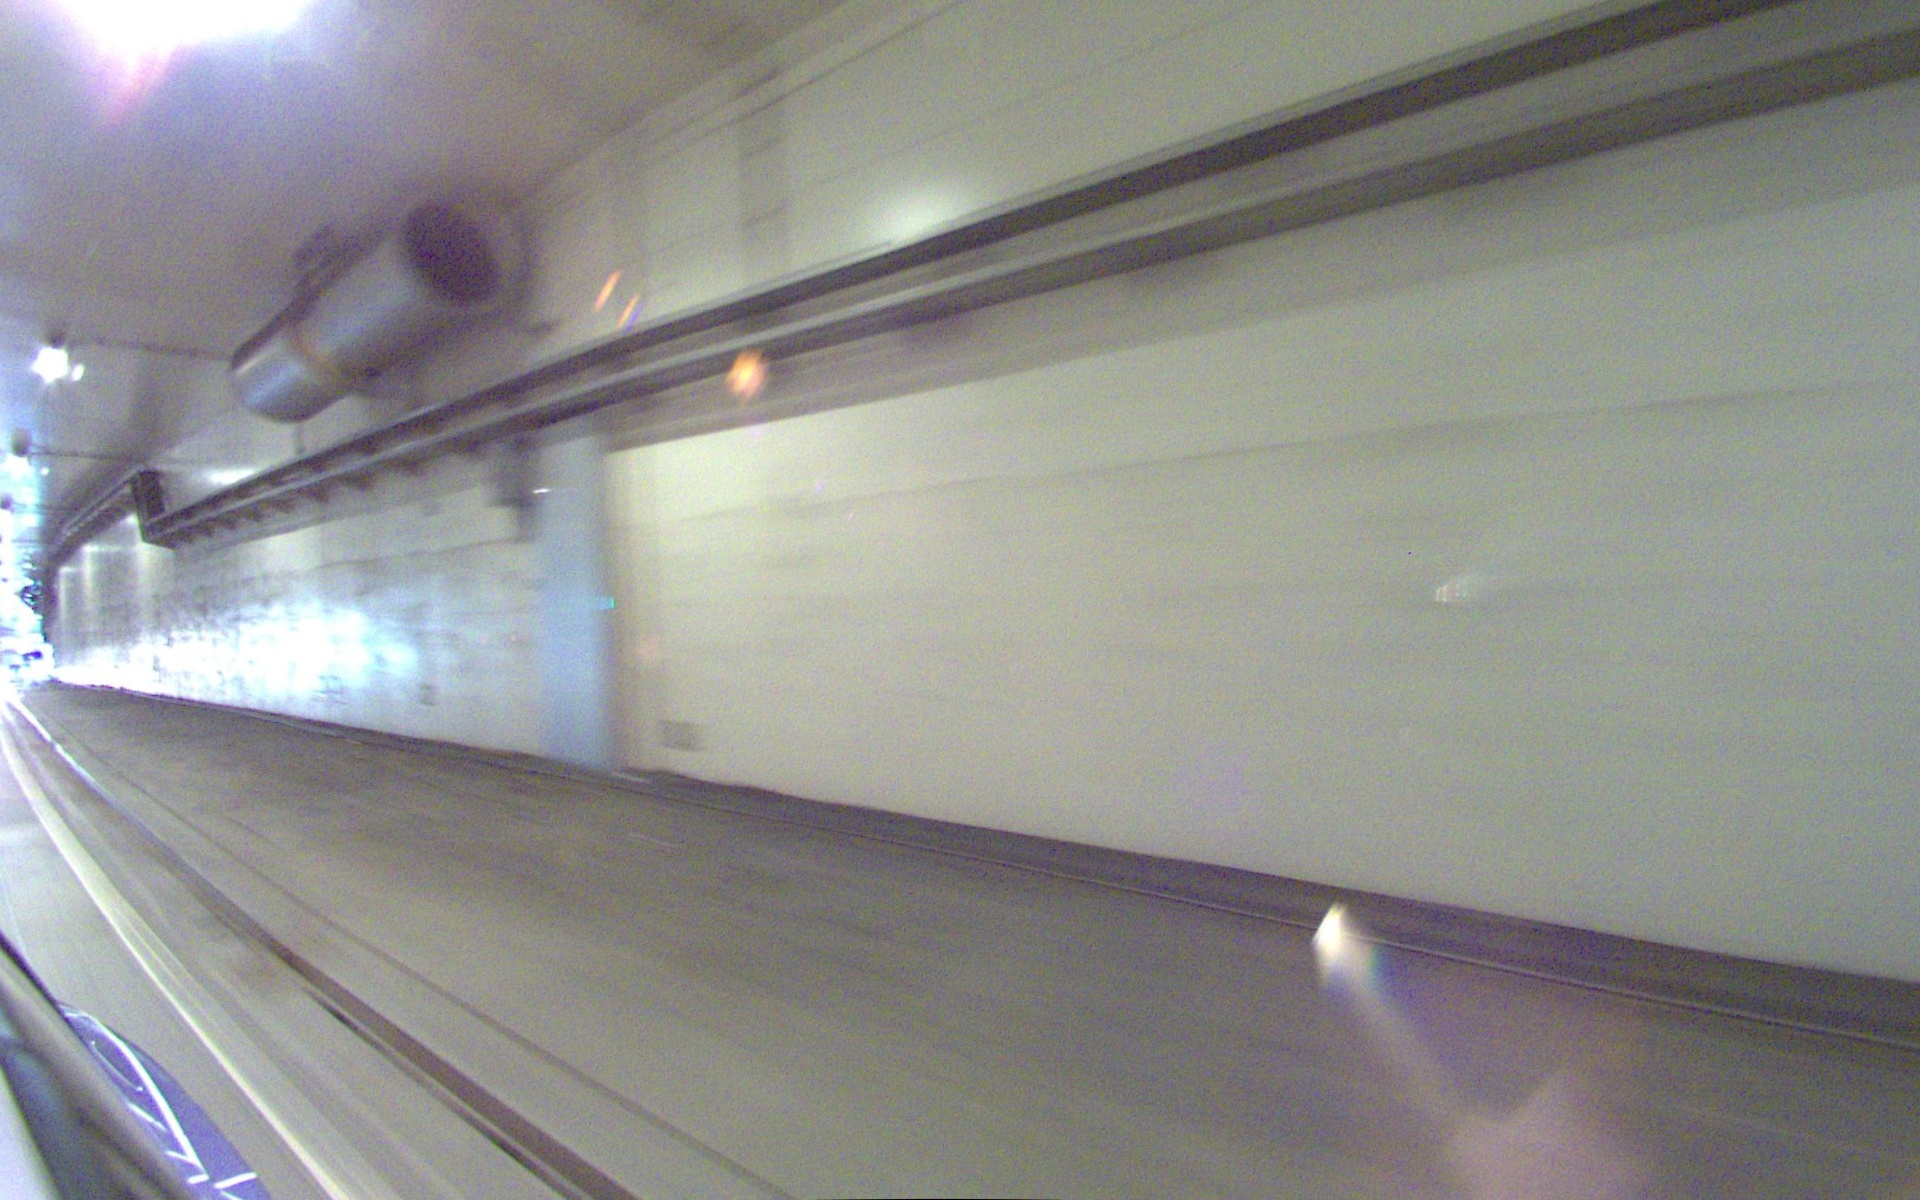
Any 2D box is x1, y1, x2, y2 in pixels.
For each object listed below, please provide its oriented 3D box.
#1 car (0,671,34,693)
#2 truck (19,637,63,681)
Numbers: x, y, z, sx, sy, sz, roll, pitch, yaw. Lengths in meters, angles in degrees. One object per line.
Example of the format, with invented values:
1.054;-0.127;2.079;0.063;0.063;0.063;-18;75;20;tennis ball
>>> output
-85.677;7.421;91.714;1.919;1.545;4.011;-4;3;-33;car
-108.766;6.853;119.932;2.843;4.505;10.476;-4;2;-38;truck
